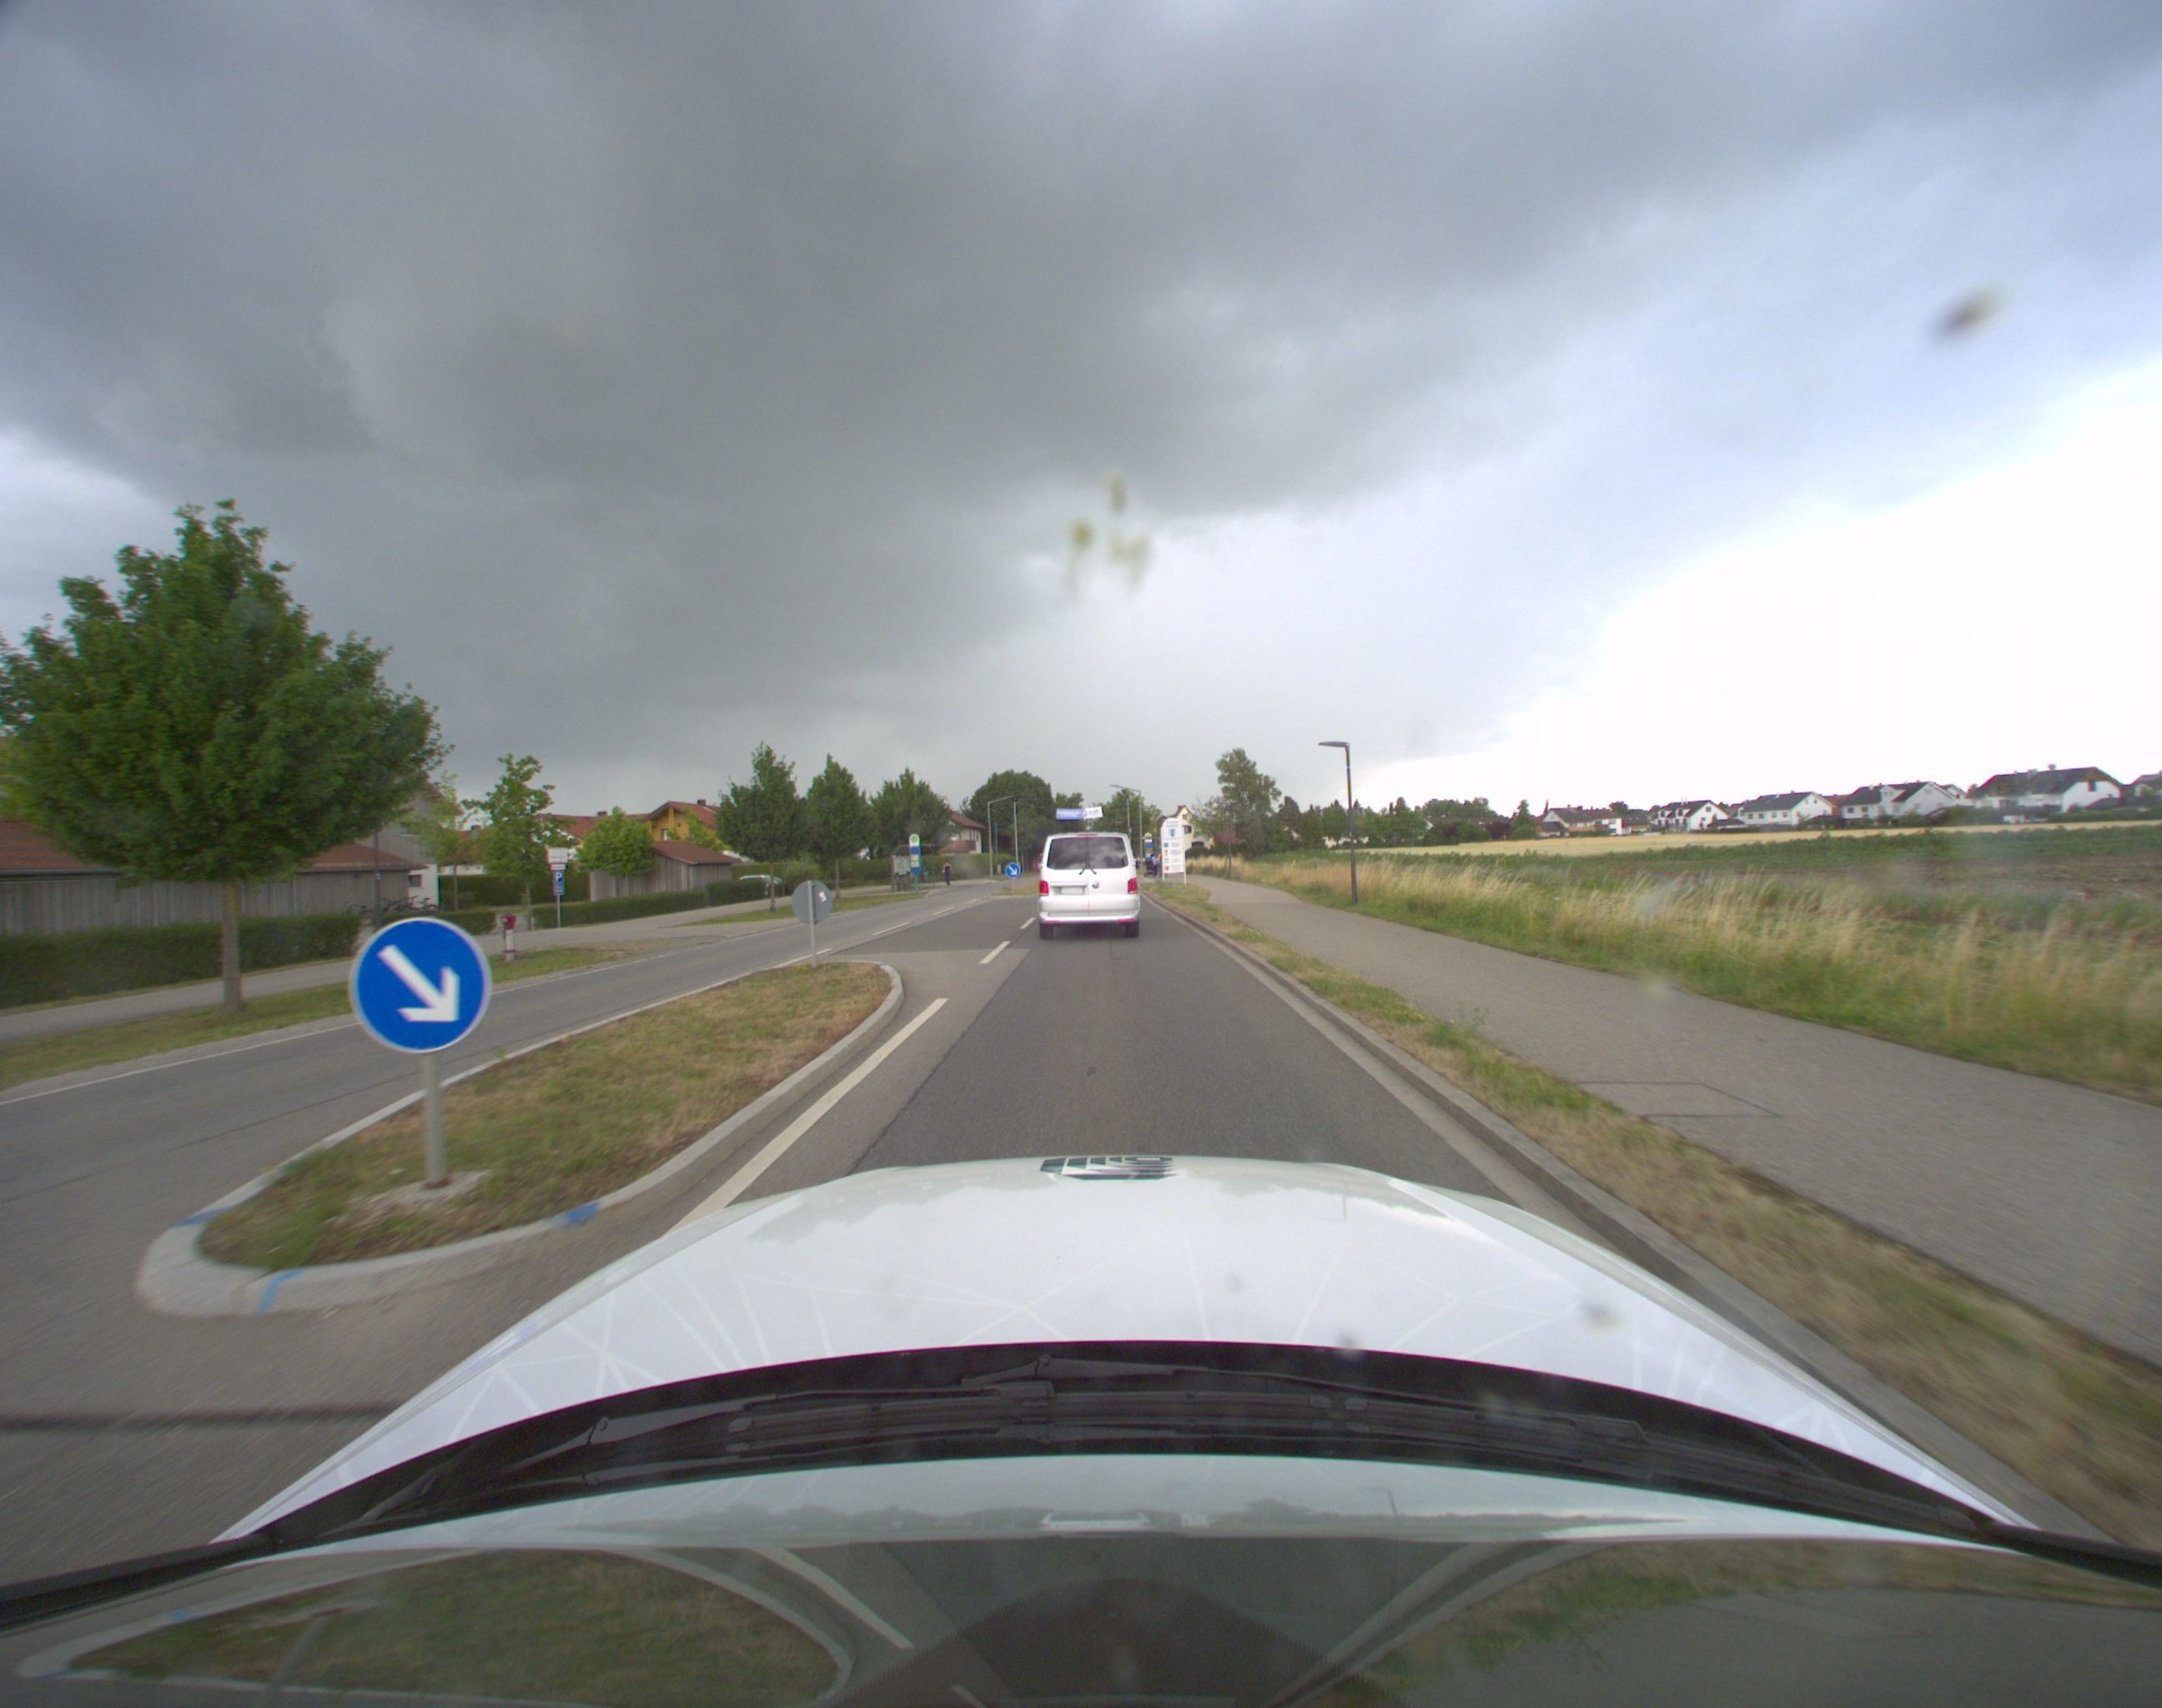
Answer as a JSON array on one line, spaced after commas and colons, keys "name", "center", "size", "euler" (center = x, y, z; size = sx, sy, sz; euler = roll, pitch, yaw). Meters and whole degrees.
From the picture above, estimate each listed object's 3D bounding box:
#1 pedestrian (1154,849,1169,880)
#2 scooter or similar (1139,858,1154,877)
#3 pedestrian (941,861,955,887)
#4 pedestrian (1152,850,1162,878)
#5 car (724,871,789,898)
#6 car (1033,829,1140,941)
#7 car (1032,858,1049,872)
[{"name": "pedestrian", "center": [4.676, 0.622, 47.468], "size": [0.634, 1.732, 0.490], "euler": [-4, 0, 29]}, {"name": "scooter or similar", "center": [4.135, 0.850, 51.697], "size": [0.845, 1.103, 1.094], "euler": [-4, 0, 2]}, {"name": "pedestrian", "center": [-8.098, 1.227, 49.566], "size": [0.621, 1.525, 0.680], "euler": [-4, 0, 1]}, {"name": "pedestrian", "center": [4.833, 0.613, 51.826], "size": [0.483, 1.732, 0.642], "euler": [-4, 0, 1]}, {"name": "car", "center": [-21.754, 2.010, 54.654], "size": [3.581, 1.529, 1.658], "euler": [-4, 0, -2]}, {"name": "car", "center": [0.103, 0.538, 16.259], "size": [1.820, 1.913, 3.999], "euler": [-1, 0, 0]}, {"name": "car", "center": [-4.605, 1.215, 93.048], "size": [1.648, 1.429, 3.603], "euler": [-4, 0, 1]}]
